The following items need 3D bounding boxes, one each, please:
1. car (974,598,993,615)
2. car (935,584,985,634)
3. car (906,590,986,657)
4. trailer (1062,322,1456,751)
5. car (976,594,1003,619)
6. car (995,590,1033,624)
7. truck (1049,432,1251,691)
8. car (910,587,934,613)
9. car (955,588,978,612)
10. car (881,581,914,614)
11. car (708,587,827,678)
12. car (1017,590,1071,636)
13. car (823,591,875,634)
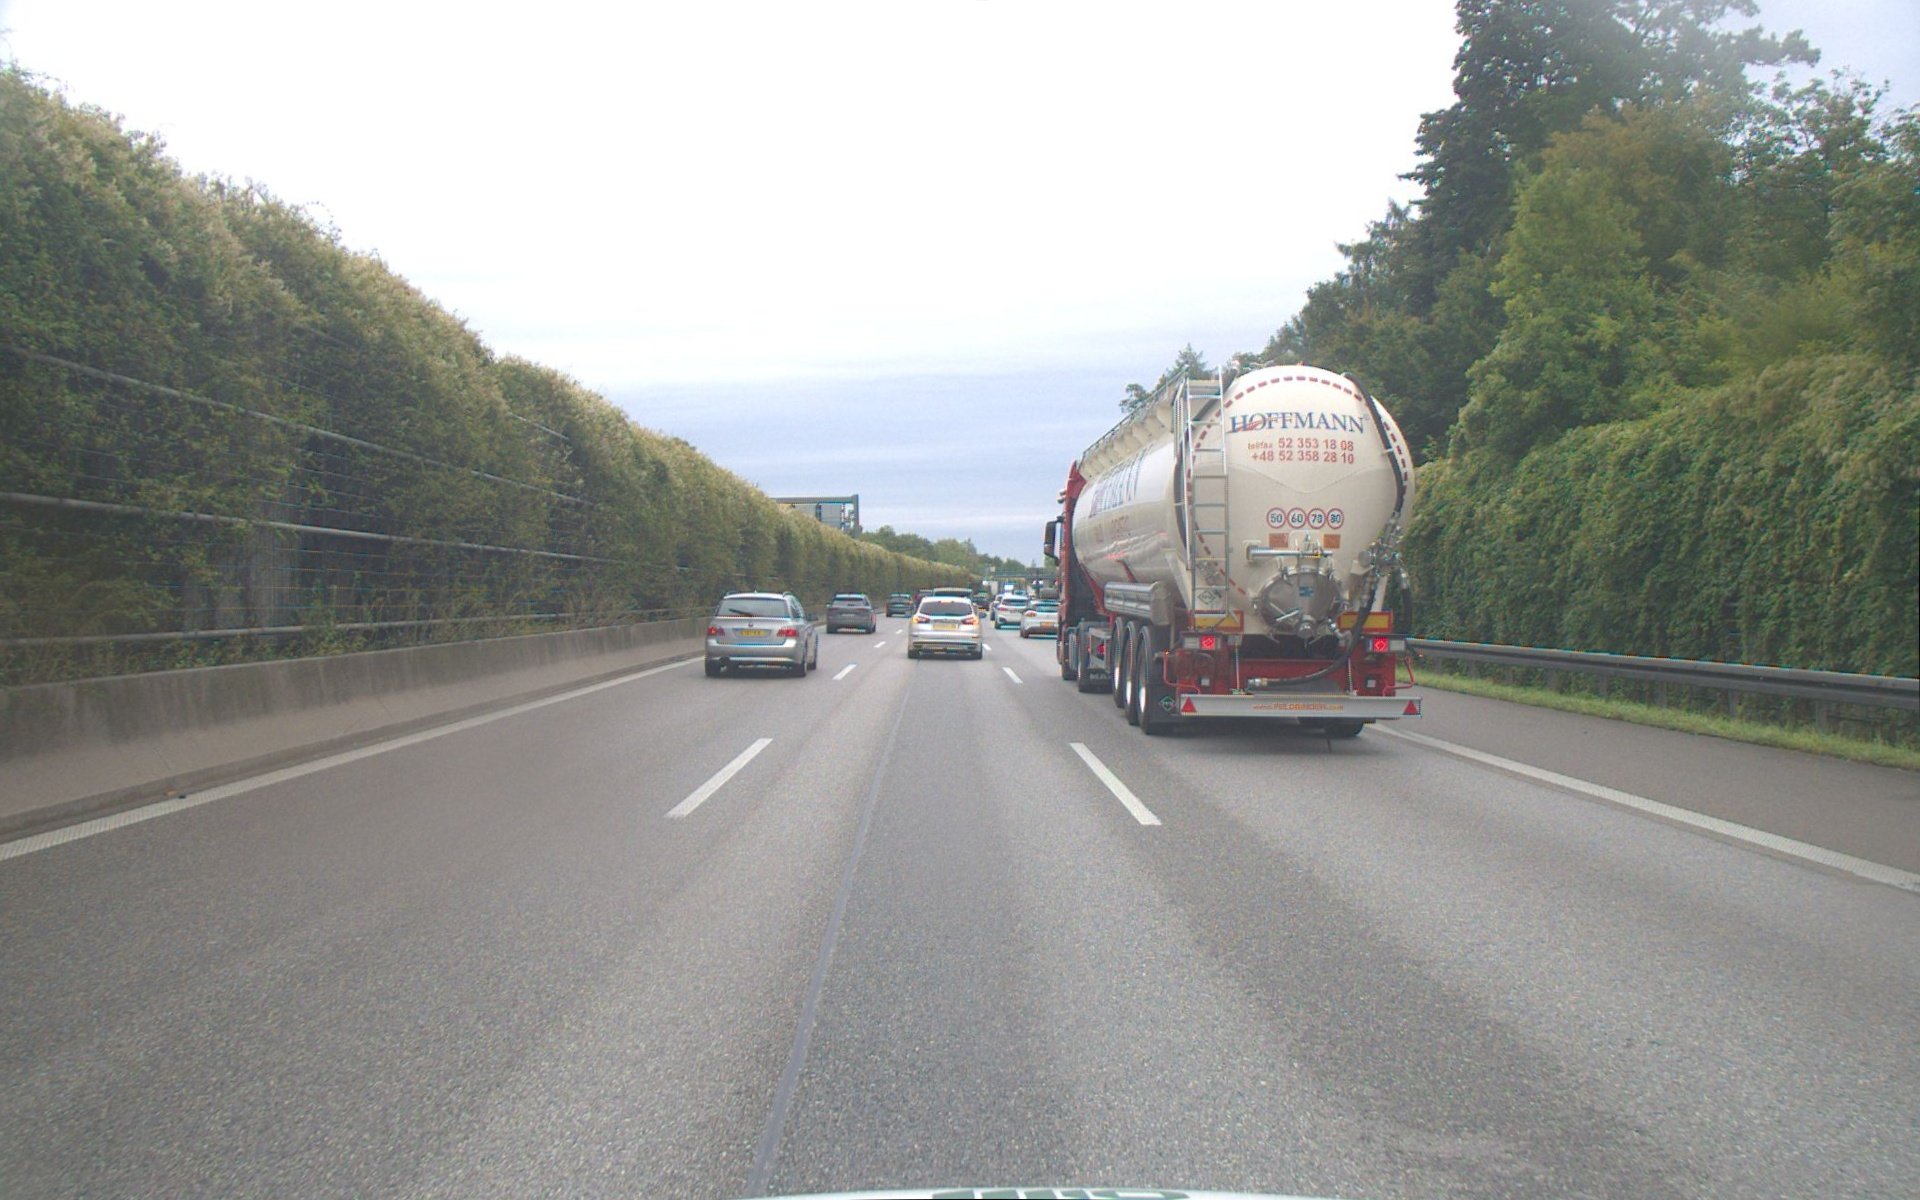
[{"bbox_3d":[2.219,0.577,155.152,1.654,1.566,3.871,1,1,0],"label":"car"},{"bbox_3d":[-0.023,0.299,59.781,1.655,1.532,3.871,5,2,-1],"label":"car"},{"bbox_3d":[-0.406,0.543,41.017,1.853,1.530,5.028,1,0,-2],"label":"car"},{"bbox_3d":[3.238,-0.579,22.184,2.614,4.008,13.126,1,0,-1],"label":"trailer"},{"bbox_3d":[1.837,0.403,104.957,1.654,1.533,3.871,1,0,0],"label":"car"},{"bbox_3d":[2.529,0.329,78.441,1.654,1.533,3.871,1,0,0],"label":"car"},{"bbox_3d":[3.127,-0.583,28.971,2.640,3.981,6.555,1,0,-1],"label":"truck"},{"bbox_3d":[-3.153,-0.014,136.905,1.953,2.049,3.999,1,0,-1],"label":"car"},{"bbox_3d":[0.496,-0.010,126.025,1.753,1.811,3.871,0,0,0],"label":"car"},{"bbox_3d":[-3.991,-0.159,105.826,1.953,2.049,3.840,1,0,-1],"label":"car"},{"bbox_3d":[-3.507,0.542,30.899,1.685,1.494,5.029,1,1,-1],"label":"car"},{"bbox_3d":[3.166,0.480,63.067,1.779,1.654,5.030,1,0,0],"label":"car"},{"bbox_3d":[-4.204,0.456,63.321,1.685,1.538,5.029,1,0,-1],"label":"car"}]
